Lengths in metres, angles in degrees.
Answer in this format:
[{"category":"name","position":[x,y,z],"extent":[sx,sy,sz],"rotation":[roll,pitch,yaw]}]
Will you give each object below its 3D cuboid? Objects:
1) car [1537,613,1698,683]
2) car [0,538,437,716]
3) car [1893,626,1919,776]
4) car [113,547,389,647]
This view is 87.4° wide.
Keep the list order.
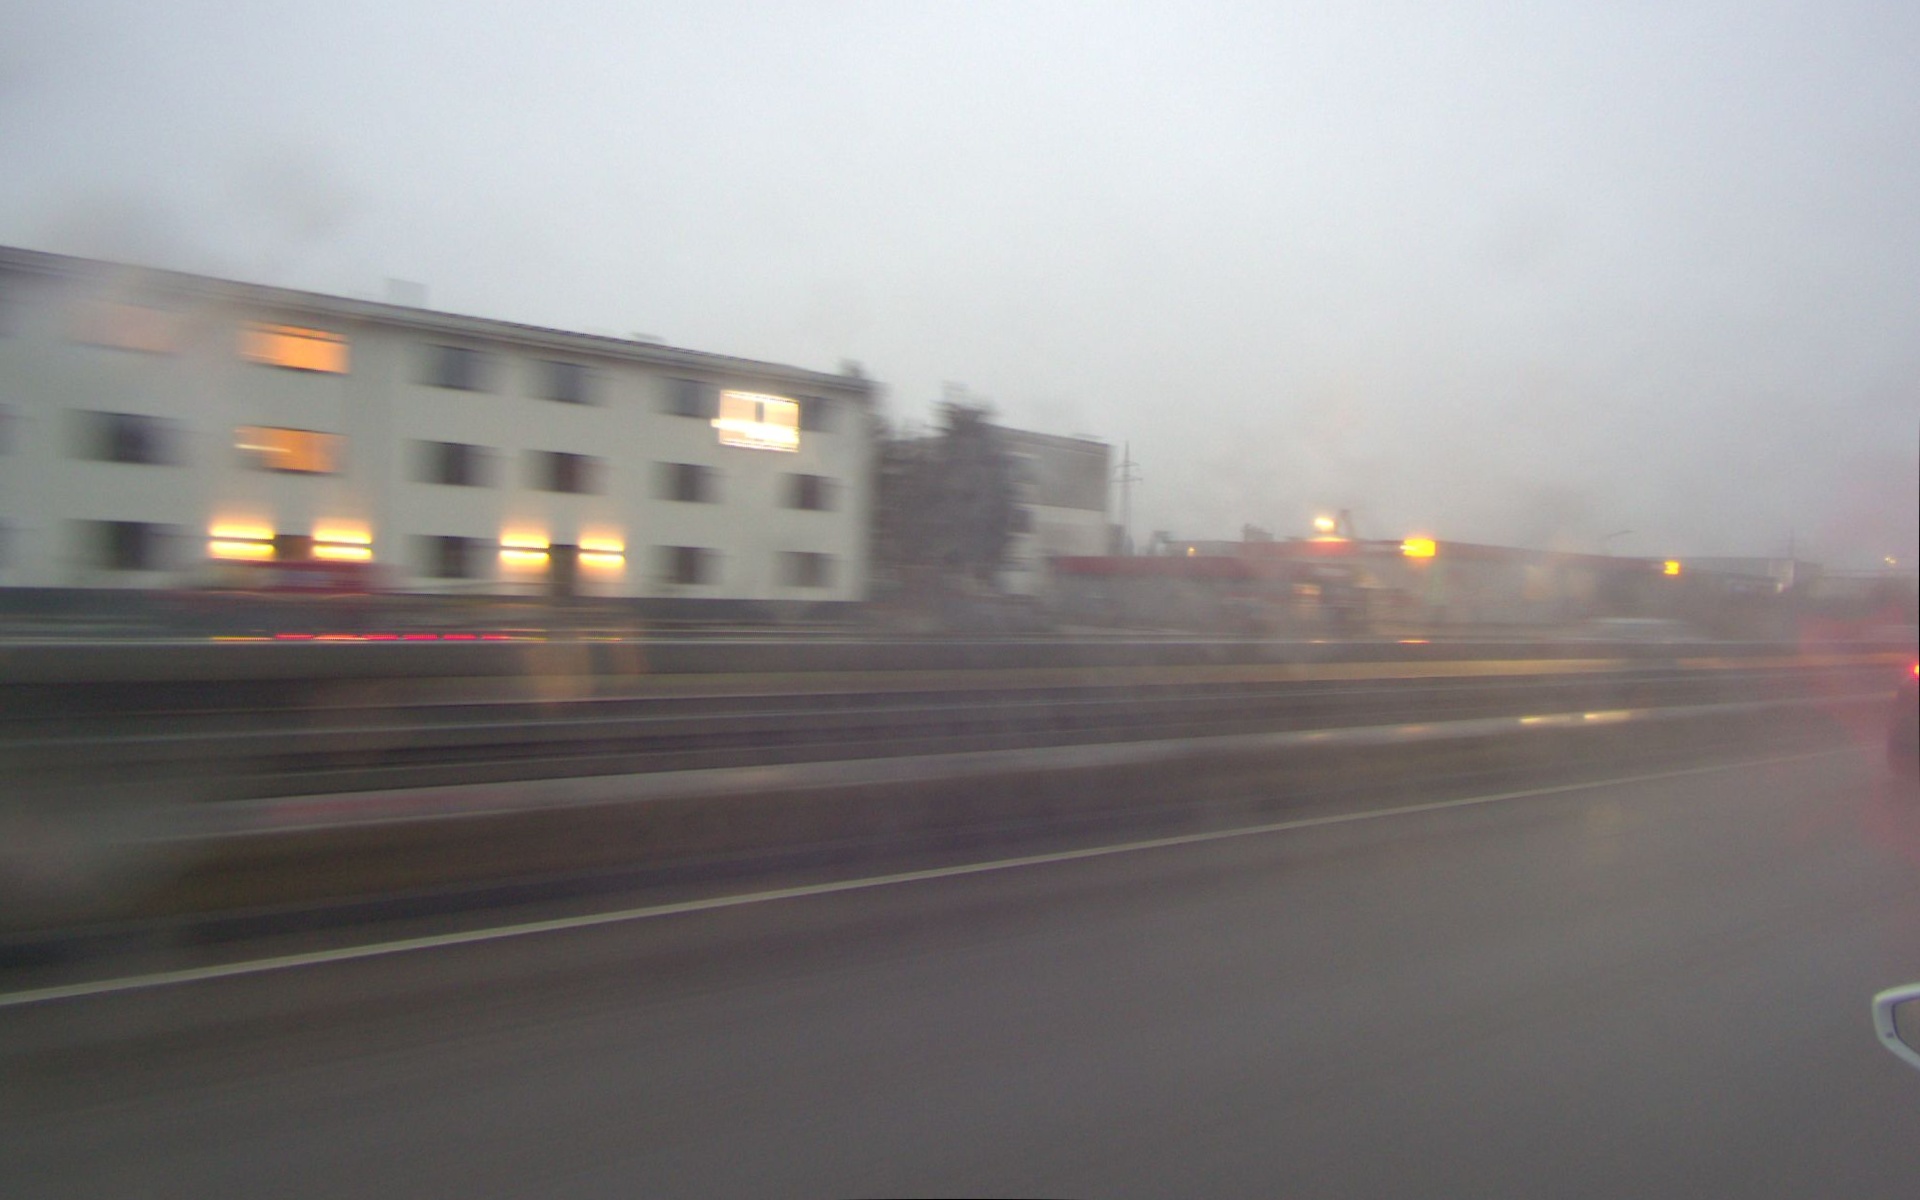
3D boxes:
[{"category":"car","position":[16.218,1.155,24.739],"extent":[3.954,1.528,1.728],"rotation":[2,1,-31]},{"category":"car","position":[-7.517,0.245,10.054],"extent":[3.954,1.528,1.728],"rotation":[2,1,-31]},{"category":"car","position":[11.096,1.038,10.035],"extent":[3.956,1.410,1.616],"rotation":[2,1,-32]},{"category":"car","position":[-15.878,-0.041,22.874],"extent":[4.907,2.041,2.142],"rotation":[1,1,-33]}]
